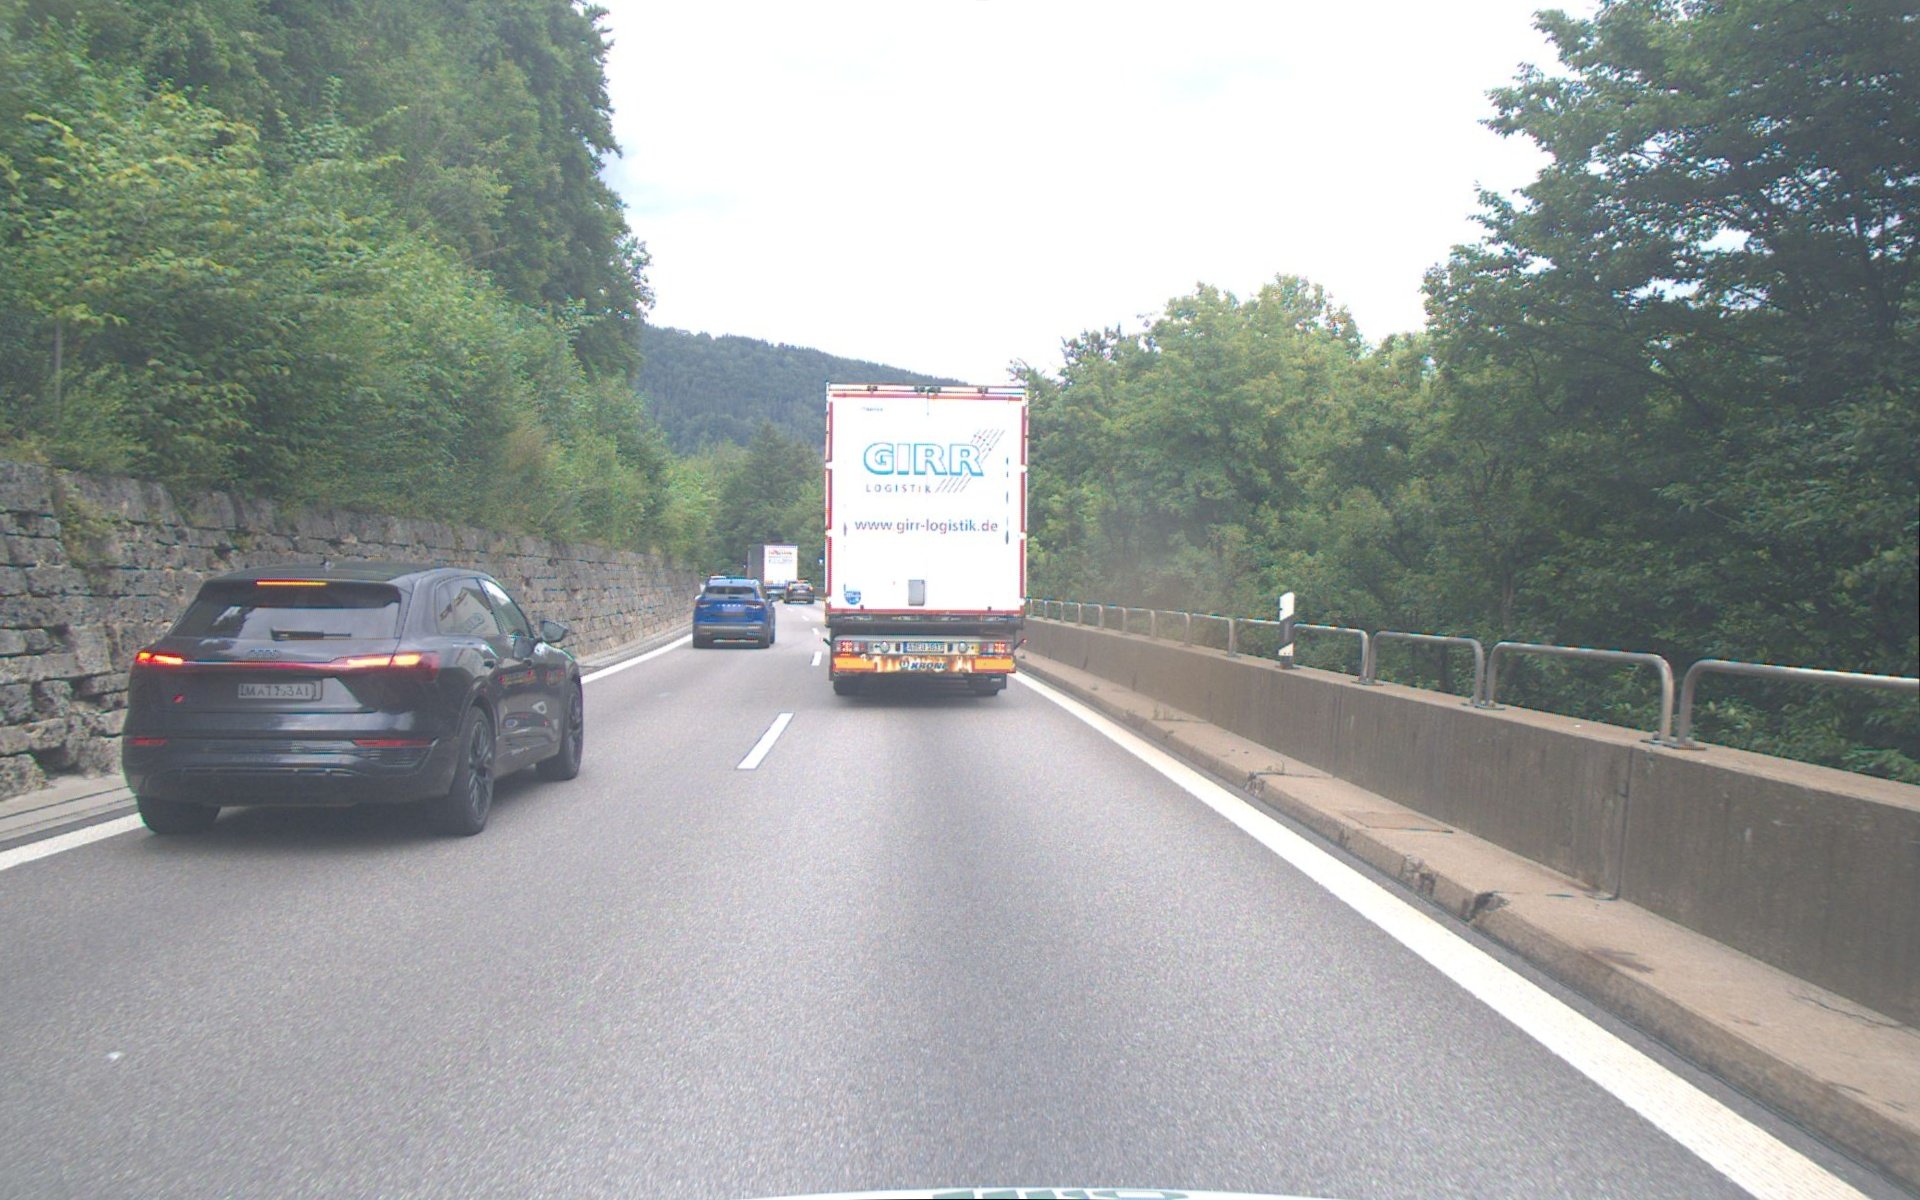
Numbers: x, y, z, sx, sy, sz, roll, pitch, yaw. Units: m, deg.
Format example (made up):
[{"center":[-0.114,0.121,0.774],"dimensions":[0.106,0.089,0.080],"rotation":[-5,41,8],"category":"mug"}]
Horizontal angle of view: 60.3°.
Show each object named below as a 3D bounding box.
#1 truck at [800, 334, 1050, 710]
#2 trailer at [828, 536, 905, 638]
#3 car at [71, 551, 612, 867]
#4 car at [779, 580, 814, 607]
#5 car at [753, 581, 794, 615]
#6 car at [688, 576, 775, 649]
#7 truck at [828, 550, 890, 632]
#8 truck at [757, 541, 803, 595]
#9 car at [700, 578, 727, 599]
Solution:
[{"center":[-0.839,-1.003,27.654],"dimensions":[3.023,4.542,15.146],"rotation":[0,0,-3],"category":"truck"},{"center":[-3.339,-0.426,56.848],"dimensions":[2.169,3.101,11.126],"rotation":[1,0,-5],"category":"trailer"},{"center":[-3.797,0.559,11.263],"dimensions":[1.953,1.660,5.006],"rotation":[0,0,-2],"category":"car"},{"center":[-10.353,-0.422,104.599],"dimensions":[2.022,1.683,3.992],"rotation":[0,0,-9],"category":"car"},{"center":[-9.573,-0.121,84.812],"dimensions":[1.956,1.624,4.346],"rotation":[1,0,-8],"category":"car"},{"center":[-5.540,0.261,40.564],"dimensions":[1.955,1.660,5.002],"rotation":[0,0,-6],"category":"car"},{"center":[-3.865,-0.336,62.412],"dimensions":[2.166,2.901,4.999],"rotation":[1,0,-5],"category":"truck"},{"center":[-13.904,-2.404,126.952],"dimensions":[2.587,3.925,12.327],"rotation":[0,0,-11],"category":"truck"},{"center":[-19.640,-0.914,131.748],"dimensions":[1.863,1.577,4.237],"rotation":[2,0,-12],"category":"car"}]
